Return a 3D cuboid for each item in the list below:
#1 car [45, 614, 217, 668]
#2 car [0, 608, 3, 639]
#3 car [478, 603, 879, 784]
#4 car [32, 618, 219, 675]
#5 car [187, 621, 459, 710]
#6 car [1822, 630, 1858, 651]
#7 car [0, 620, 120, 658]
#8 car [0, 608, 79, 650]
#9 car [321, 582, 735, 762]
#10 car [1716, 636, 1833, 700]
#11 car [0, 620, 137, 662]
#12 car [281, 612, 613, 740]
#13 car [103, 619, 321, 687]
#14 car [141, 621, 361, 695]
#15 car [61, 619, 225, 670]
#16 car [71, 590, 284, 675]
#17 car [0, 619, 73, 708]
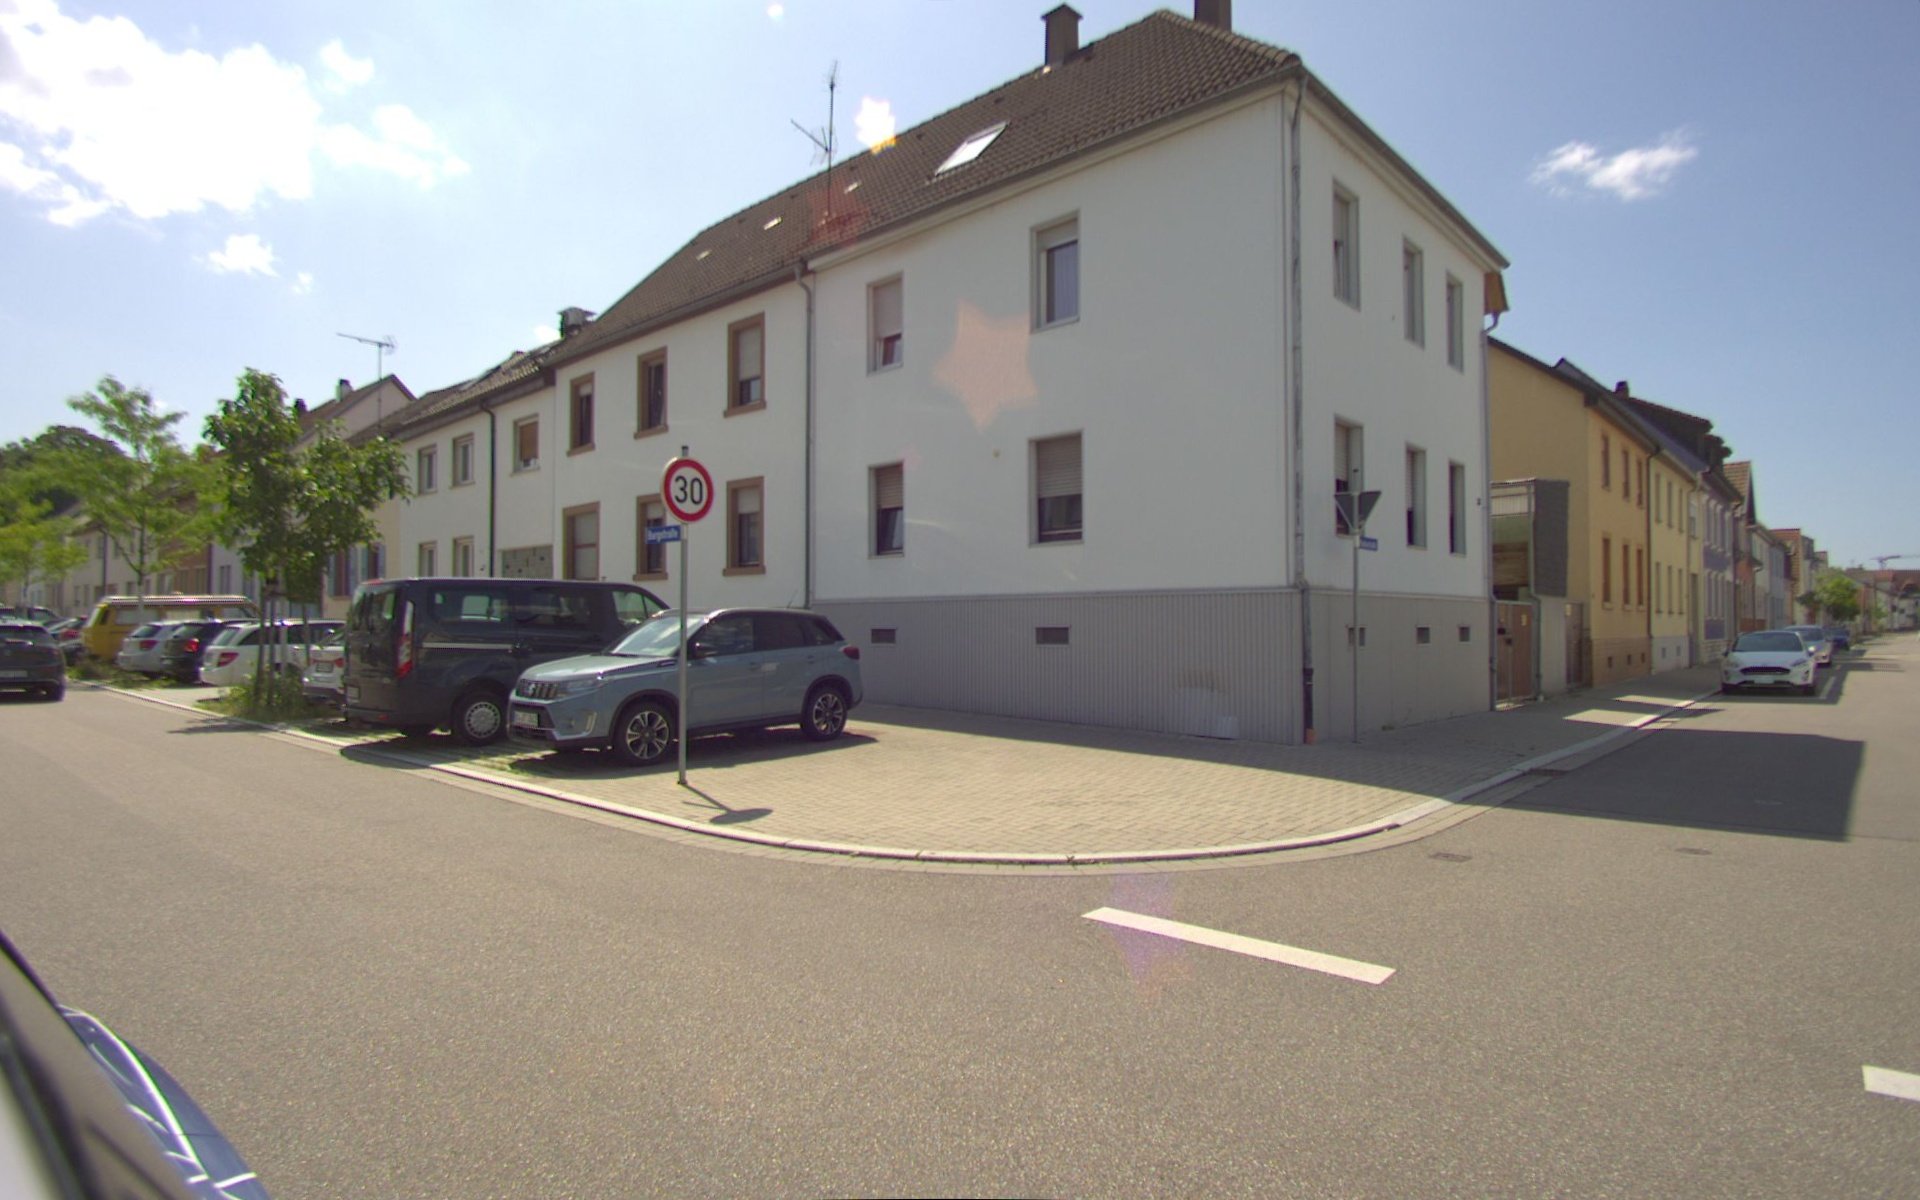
[{"bbox_3d":[-27.652,1.308,33.871,1.841,1.623,4.210,-1,-1,40],"label":"car"},{"bbox_3d":[-75.011,1.830,75.401,2.155,2.305,5.115,-1,0,39],"label":"car"},{"bbox_3d":[-3.014,0.874,11.547,1.771,1.631,4.132,0,0,41],"label":"car"},{"bbox_3d":[-24.119,1.298,29.348,1.754,1.470,3.968,-1,-1,41],"label":"car"},{"bbox_3d":[-12.431,1.199,19.951,1.774,1.479,4.248,0,0,43],"label":"car"},{"bbox_3d":[59.140,2.716,67.996,1.660,1.313,4.093,-3,-3,42],"label":"car"},{"bbox_3d":[-37.966,1.585,42.051,1.795,1.436,4.477,-1,-1,41],"label":"car"},{"bbox_3d":[-47.009,1.441,50.431,1.953,2.011,4.563,-1,-1,43],"label":"car"},{"bbox_3d":[-5.451,0.752,13.311,1.937,1.937,4.651,0,0,41],"label":"car"},{"bbox_3d":[19.523,1.576,24.208,1.891,1.313,3.944,-3,-3,42],"label":"car"},{"bbox_3d":[-34.885,1.551,39.525,1.773,1.489,4.014,-1,-1,38],"label":"car"},{"bbox_3d":[-7.584,1.013,15.310,1.771,1.580,4.144,0,0,37],"label":"car"},{"bbox_3d":[-18.511,1.248,25.233,1.748,1.479,4.040,-1,0,33],"label":"car"},{"bbox_3d":[-16.270,1.260,23.408,1.654,1.479,3.848,0,0,33],"label":"car"},{"bbox_3d":[-25.684,1.351,31.918,1.753,1.470,3.755,-1,-1,38],"label":"car"},{"bbox_3d":[-21.862,0.855,28.426,1.924,2.194,4.461,-1,-1,41],"label":"car"},{"bbox_3d":[-18.097,1.131,18.857,4.046,1.534,1.744,-1,-3,40],"label":"car"}]
